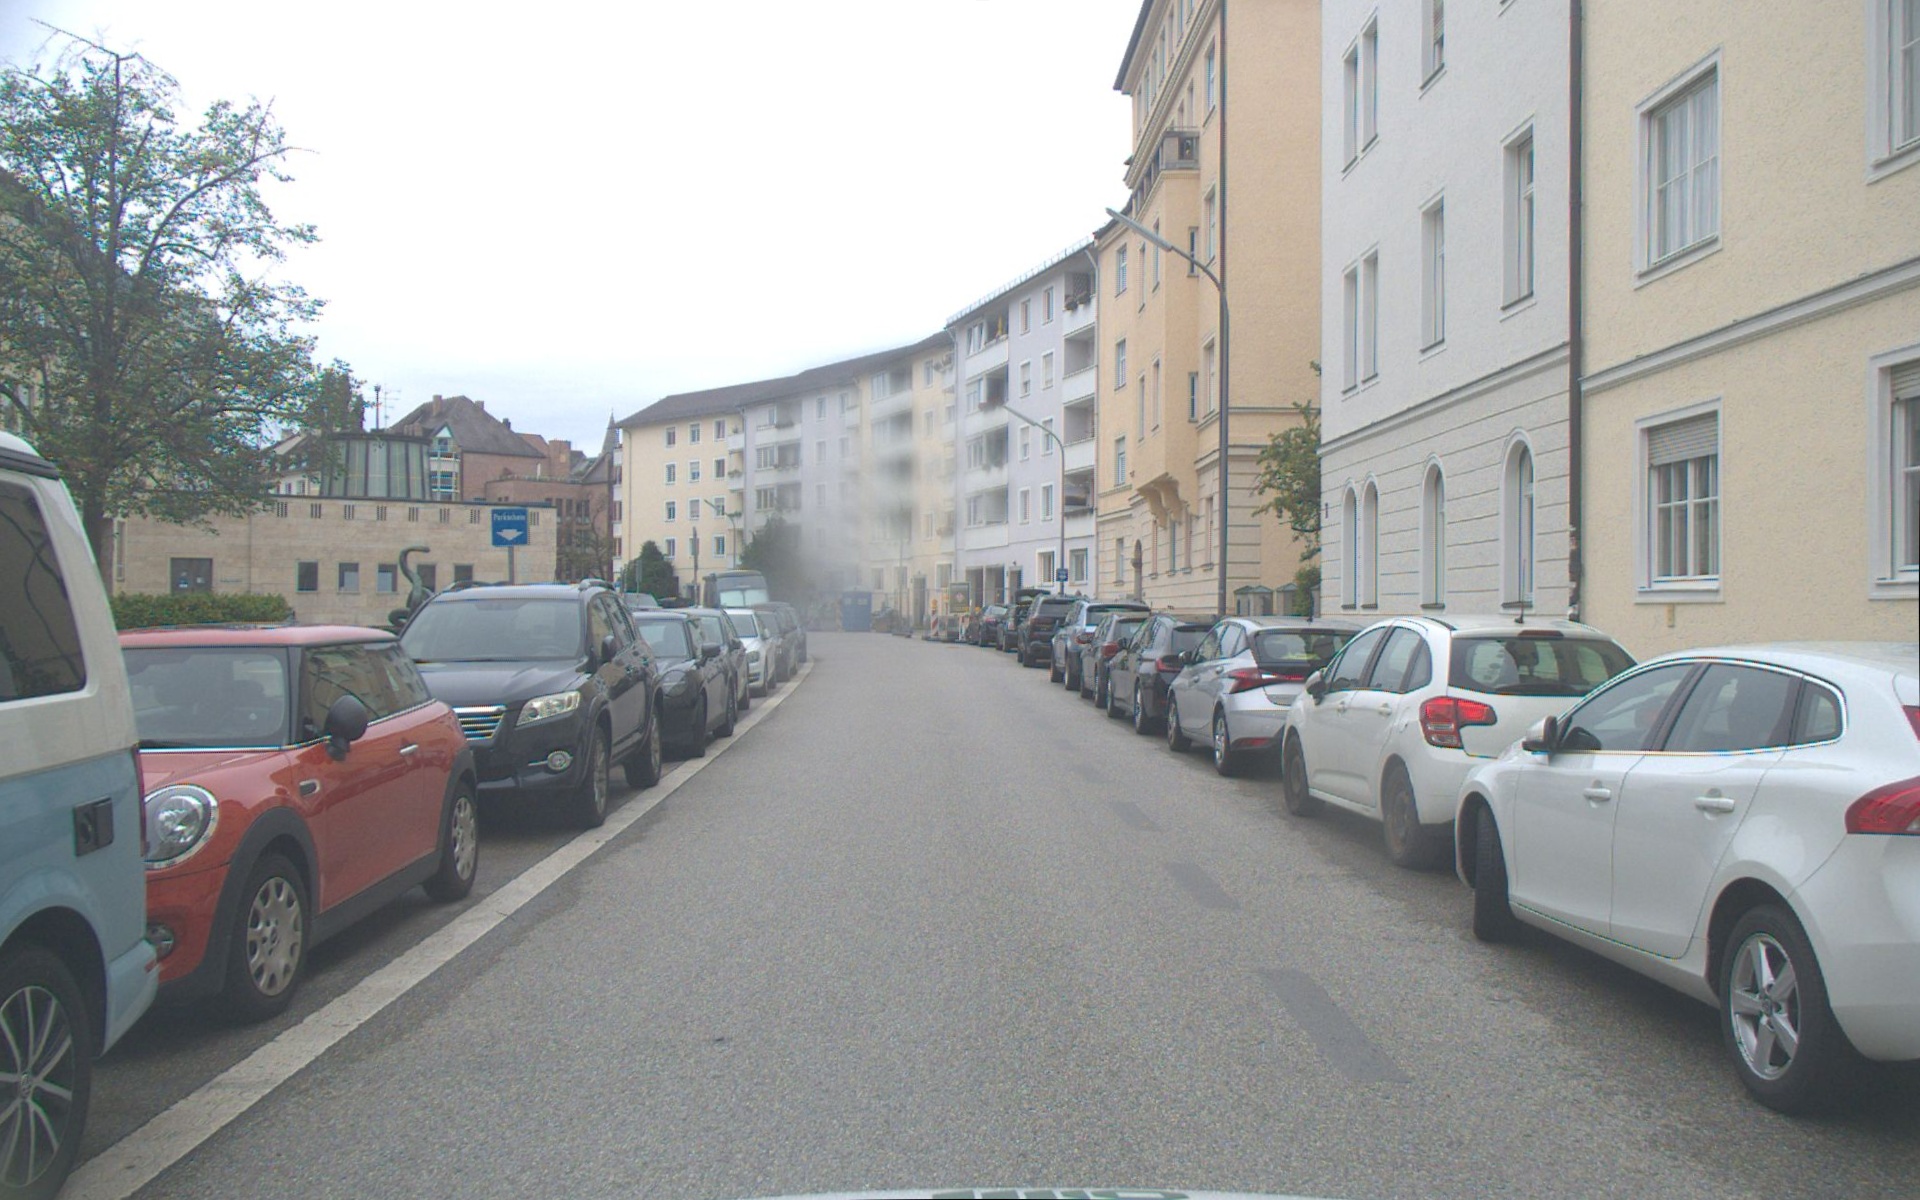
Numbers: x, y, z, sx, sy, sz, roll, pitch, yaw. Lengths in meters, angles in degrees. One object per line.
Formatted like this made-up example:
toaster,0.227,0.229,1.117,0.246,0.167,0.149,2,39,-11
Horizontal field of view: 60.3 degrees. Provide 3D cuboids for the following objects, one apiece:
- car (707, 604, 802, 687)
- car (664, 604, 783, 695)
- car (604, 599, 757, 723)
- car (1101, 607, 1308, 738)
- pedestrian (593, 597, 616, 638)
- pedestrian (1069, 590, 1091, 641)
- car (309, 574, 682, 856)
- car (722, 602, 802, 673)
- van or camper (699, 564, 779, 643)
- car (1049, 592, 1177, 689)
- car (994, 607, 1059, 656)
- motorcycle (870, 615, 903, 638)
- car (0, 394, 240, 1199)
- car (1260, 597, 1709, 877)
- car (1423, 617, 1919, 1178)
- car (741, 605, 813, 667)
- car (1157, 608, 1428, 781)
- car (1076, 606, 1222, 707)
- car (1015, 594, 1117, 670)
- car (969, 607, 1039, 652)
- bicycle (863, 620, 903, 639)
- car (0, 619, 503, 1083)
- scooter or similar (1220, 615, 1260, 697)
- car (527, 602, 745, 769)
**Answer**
car,-4.149,0.885,33.924,1.598,1.520,4.272,-2,0,-3
car,-4.040,0.807,28.835,1.706,1.447,4.291,1,0,-4
car,-3.733,0.762,22.673,1.598,1.520,4.098,1,0,-3
car,3.029,0.848,21.433,1.838,1.475,4.676,1,0,-2
pedestrian,-16.467,0.805,76.554,0.833,1.899,0.707,1,-1,-30
pedestrian,4.107,0.528,56.666,0.605,1.720,0.919,-3,-1,-2
car,-3.261,0.728,12.446,1.680,1.719,4.139,-1,0,-1
car,-4.569,0.839,38.533,1.598,1.520,3.601,-2,0,-3
van or camper,-7.965,0.122,59.114,2.257,2.626,6.065,1,0,-13
car,2.824,0.728,31.449,1.809,1.692,4.495,1,0,-3
car,2.044,0.969,51.903,1.599,1.442,3.676,1,0,-4
motorcycle,-4.017,1.447,90.372,0.920,1.242,2.487,1,-1,-25
car,-3.026,0.553,2.609,1.877,1.994,4.957,-2,0,-4
car,3.353,0.791,11.388,1.618,1.571,3.990,1,0,-3
car,3.317,0.822,6.433,1.690,1.455,4.292,1,0,-2
car,-4.836,0.908,43.783,1.740,1.491,4.460,-2,0,-6
car,3.188,0.847,16.672,1.690,1.475,4.185,1,0,-3
car,2.952,0.849,26.589,1.790,1.475,4.083,1,0,-1
car,2.606,0.762,41.709,2.126,1.769,5.022,1,0,-1
car,1.507,1.002,58.156,1.871,1.503,4.940,1,0,-5
bicycle,-4.590,1.749,98.373,2.204,1.088,0.912,1,-1,-26
car,-3.359,0.846,7.141,1.768,1.431,3.708,-2,0,-1
scooter or similar,4.364,0.861,25.813,0.418,1.252,1.047,1,-1,-1
car,-3.320,0.819,17.618,1.598,1.520,3.818,-2,0,-1
